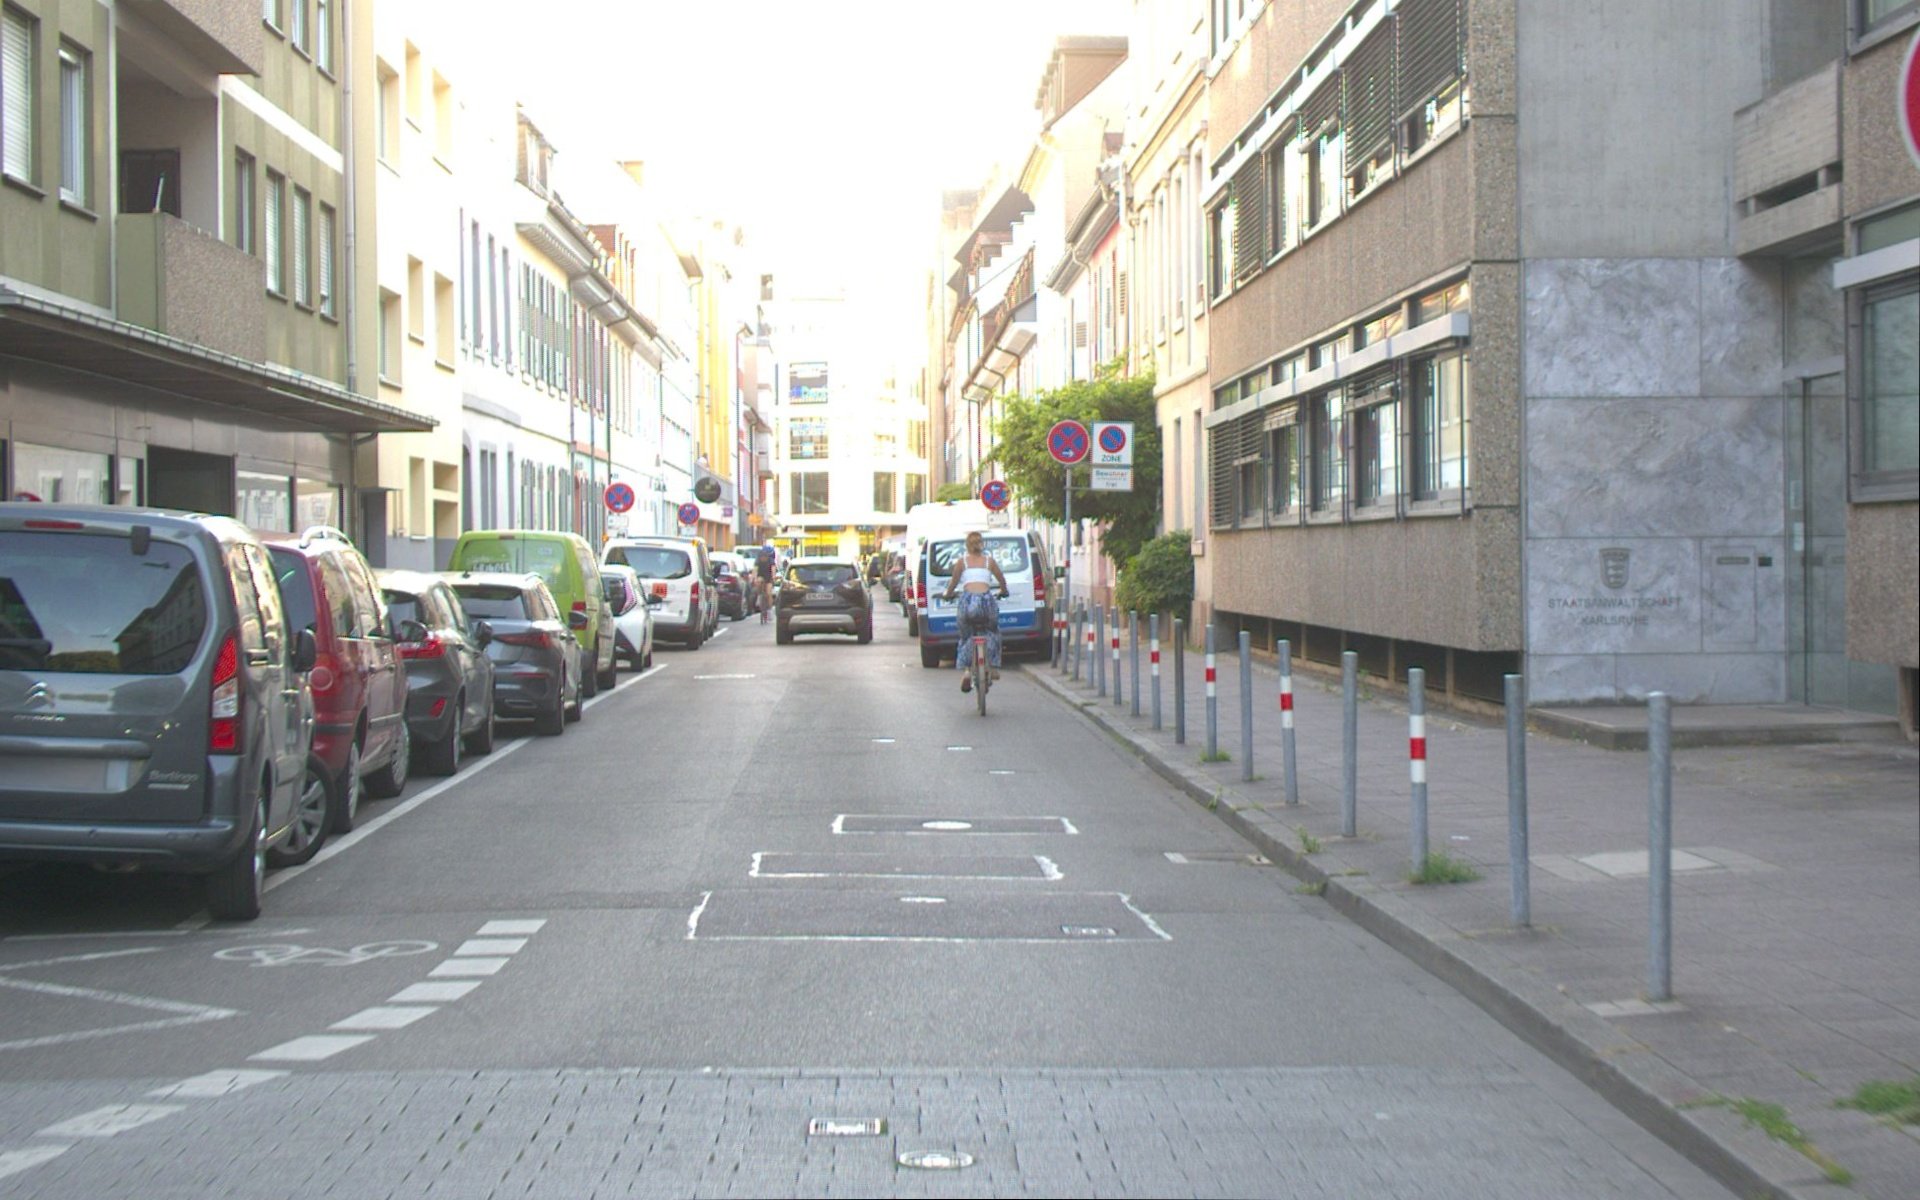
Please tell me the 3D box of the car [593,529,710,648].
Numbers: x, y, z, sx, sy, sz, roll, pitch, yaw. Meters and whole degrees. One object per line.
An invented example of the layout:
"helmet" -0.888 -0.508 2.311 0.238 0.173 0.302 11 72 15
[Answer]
"car" -5.457 -0.243 61.366 1.862 2.007 5.107 -1 1 -3

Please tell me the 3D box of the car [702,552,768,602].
"car" -6.698 -0.694 102.806 1.918 1.429 4.294 1 1 -3

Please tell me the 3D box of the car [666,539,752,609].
"car" -6.213 -0.669 85.374 1.803 1.671 4.490 -1 1 0

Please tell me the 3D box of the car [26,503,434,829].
"car" -4.397 0.337 21.346 1.772 1.805 4.511 0 1 -3

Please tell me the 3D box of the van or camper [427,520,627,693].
"van or camper" -4.871 0.036 39.145 1.772 1.842 4.178 -1 1 -1

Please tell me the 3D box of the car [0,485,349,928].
"car" -4.057 0.401 16.220 1.876 1.805 4.451 0 1 -4

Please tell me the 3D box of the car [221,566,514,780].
"car" -4.419 0.493 26.133 1.624 1.480 3.878 -1 1 -1

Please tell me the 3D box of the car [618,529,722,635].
"car" -5.697 -0.391 68.036 1.862 2.007 4.814 -1 1 -3

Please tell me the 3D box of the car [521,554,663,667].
"car" -5.147 0.122 48.456 1.662 1.444 3.521 3 1 -2

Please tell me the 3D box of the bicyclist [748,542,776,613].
"bicyclist" -4.611 -0.525 80.201 0.623 1.634 1.081 0 1 -1

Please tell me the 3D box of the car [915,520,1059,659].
"car" 0.339 -0.189 50.198 1.936 1.891 5.277 -1 1 -1

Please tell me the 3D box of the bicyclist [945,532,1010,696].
"bicyclist" 0.166 0.129 33.320 0.621 1.569 0.683 0 1 0

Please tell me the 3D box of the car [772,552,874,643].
"car" -2.526 -0.079 63.836 1.819 1.612 4.000 1 1 -2

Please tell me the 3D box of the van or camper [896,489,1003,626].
"van or camper" -0.232 -0.877 70.062 2.050 2.628 7.063 -1 1 -1

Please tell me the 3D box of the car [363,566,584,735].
"car" -4.321 0.409 30.987 1.624 1.411 3.981 0 1 -3

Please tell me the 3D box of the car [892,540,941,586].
"car" -1.521 -1.302 119.832 1.653 1.555 3.606 1 1 -1

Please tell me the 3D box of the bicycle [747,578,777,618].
"bicycle" -4.617 -0.048 80.261 0.634 0.919 1.779 0 1 -1

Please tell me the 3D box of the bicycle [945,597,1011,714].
"bicycle" 0.162 0.524 33.333 0.613 1.078 1.809 0 1 -1

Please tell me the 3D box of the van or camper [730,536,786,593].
"van or camper" -7.339 -1.300 125.421 1.844 2.006 4.678 1 1 -1

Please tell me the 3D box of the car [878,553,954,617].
"car" -1.128 -0.412 89.976 1.819 1.525 5.071 -4 1 0
